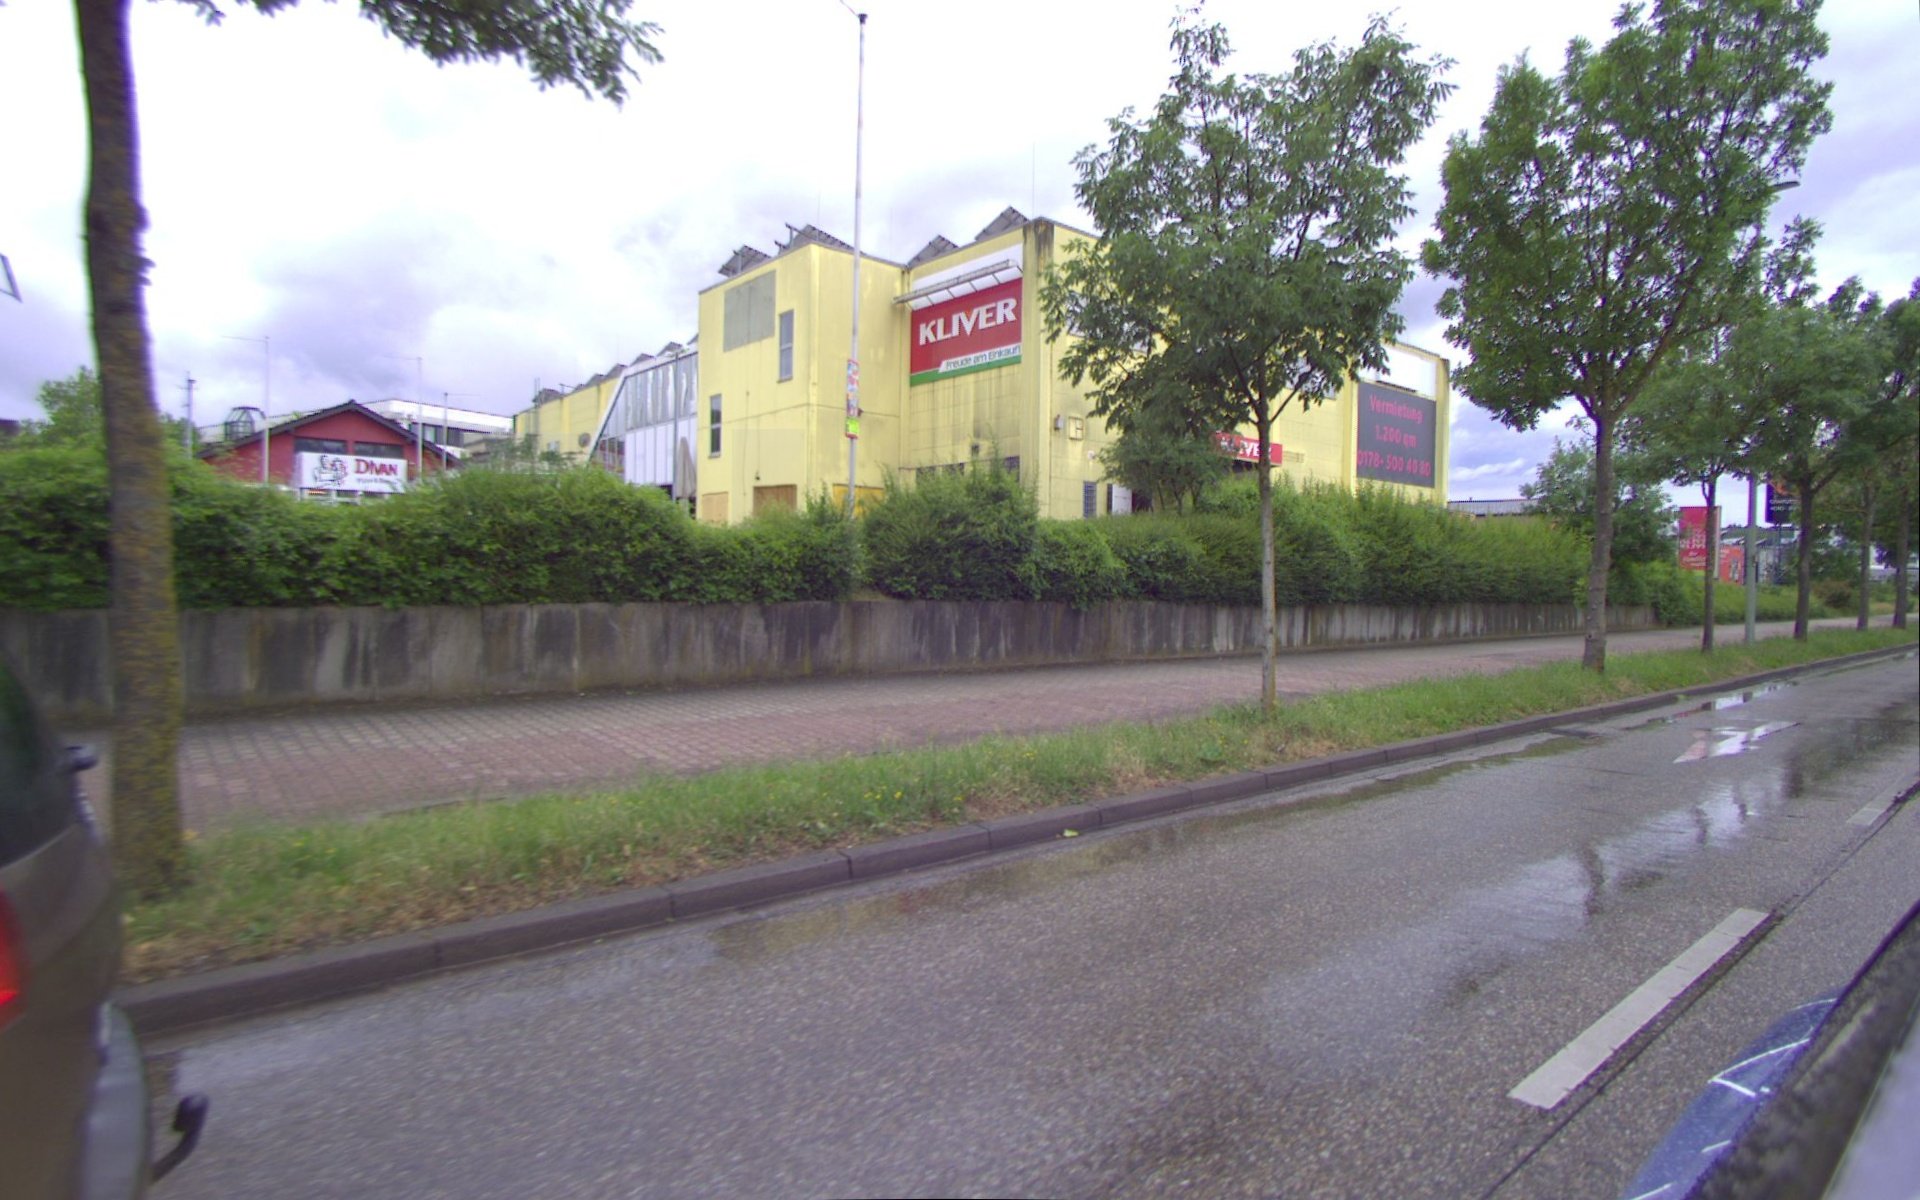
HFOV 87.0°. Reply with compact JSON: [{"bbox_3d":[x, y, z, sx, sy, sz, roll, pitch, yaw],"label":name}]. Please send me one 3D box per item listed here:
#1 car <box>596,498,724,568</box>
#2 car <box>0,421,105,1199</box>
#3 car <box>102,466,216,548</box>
[{"bbox_3d":[-8.575,-1.855,28.751,1.966,1.801,3.993,0,2,-42],"label":"car"},{"bbox_3d":[-3.304,0.594,0.500,4.392,1.644,1.730,0,2,-41],"label":"car"},{"bbox_3d":[-20.021,-2.217,25.226,1.966,1.760,4.377,0,2,-42],"label":"car"}]
